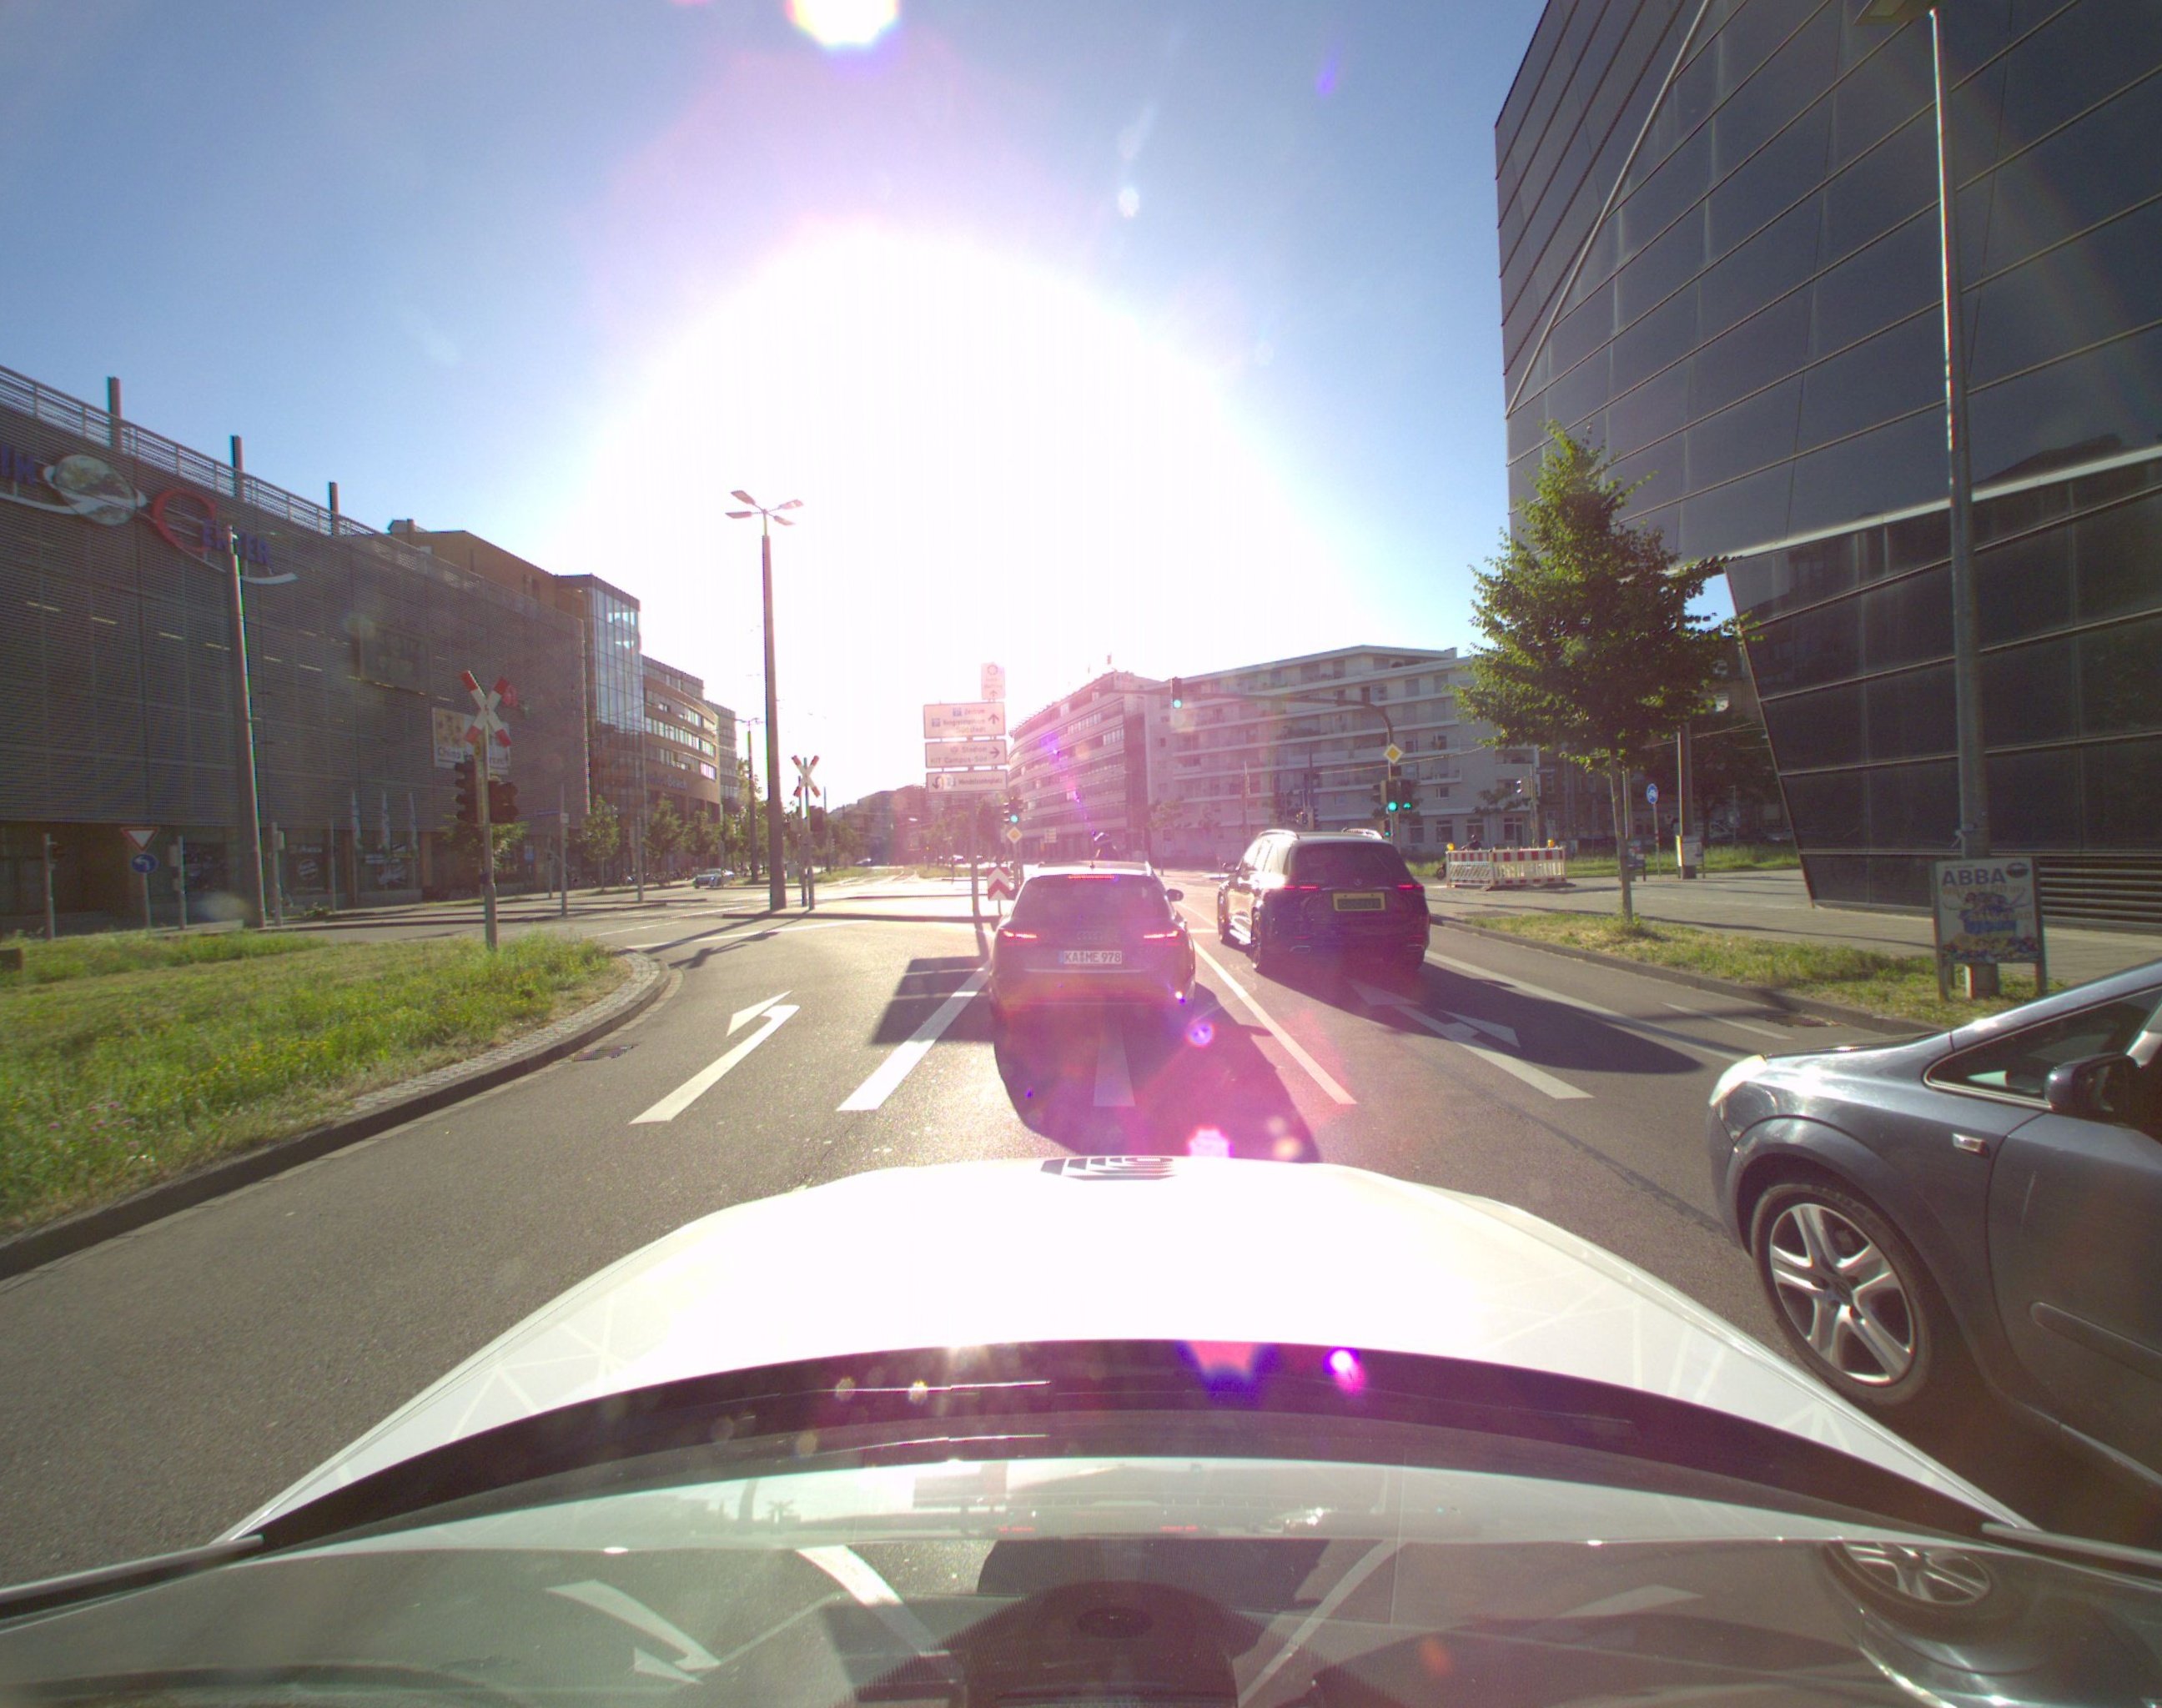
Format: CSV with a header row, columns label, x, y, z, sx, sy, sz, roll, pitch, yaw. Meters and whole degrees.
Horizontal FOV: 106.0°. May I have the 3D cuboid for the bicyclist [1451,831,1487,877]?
label,x,y,z,sx,sy,sz,roll,pitch,yaw
bicyclist,14.823,0.001,31.134,0.767,1.706,0.925,-2,0,-15

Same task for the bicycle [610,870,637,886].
label,x,y,z,sx,sy,sz,roll,pitch,yaw
bicycle,-43.658,2.304,77.765,2.070,1.433,0.863,-3,-1,10

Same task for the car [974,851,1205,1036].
label,x,y,z,sx,sy,sz,roll,pitch,yaw
car,0.120,0.710,8.514,1.835,1.454,4.001,0,0,1

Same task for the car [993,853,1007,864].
label,x,y,z,sx,sy,sz,roll,pitch,yaw
car,-14.953,0.903,150.247,1.996,1.838,3.981,-3,-1,-14

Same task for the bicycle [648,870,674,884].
label,x,y,z,sx,sy,sz,roll,pitch,yaw
bicycle,-47.138,2.600,91.427,2.591,1.433,0.773,-3,-1,10

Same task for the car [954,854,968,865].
label,x,y,z,sx,sy,sz,roll,pitch,yaw
car,-20.794,0.971,140.547,1.996,1.596,3.981,-3,-1,-14

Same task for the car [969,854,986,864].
label,x,y,z,sx,sy,sz,roll,pitch,yaw
car,-17.565,0.844,137.999,1.999,1.596,3.976,-3,-1,-17

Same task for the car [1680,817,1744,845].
label,x,y,z,sx,sy,sz,roll,pitch,yaw
car,58.893,-2.134,76.069,4.543,2.310,2.013,-2,0,38

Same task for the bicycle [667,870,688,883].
label,x,y,z,sx,sy,sz,roll,pitch,yaw
bicycle,-47.427,2.620,95.753,2.125,1.433,0.761,-3,-1,10

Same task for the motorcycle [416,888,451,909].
label,x,y,z,sx,sy,sz,roll,pitch,yaw
motorcycle,-41.767,2.881,52.530,0.673,1.238,1.894,-3,-1,1

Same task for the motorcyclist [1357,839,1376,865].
label,x,y,z,sx,sy,sz,roll,pitch,yaw
motorcyclist,16.565,-0.119,47.294,0.918,1.481,1.176,-2,0,16

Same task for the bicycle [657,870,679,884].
label,x,y,z,sx,sy,sz,roll,pitch,yaw
bicycle,-47.406,2.614,93.554,2.231,1.433,0.720,-3,-1,10

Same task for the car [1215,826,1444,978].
label,x,y,z,sx,sy,sz,roll,pitch,yaw
car,3.165,0.524,11.391,1.995,1.715,4.374,0,0,2

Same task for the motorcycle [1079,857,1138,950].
label,x,y,z,sx,sy,sz,roll,pitch,yaw
motorcycle,0.452,0.760,13.351,0.859,1.393,1.894,-2,0,2

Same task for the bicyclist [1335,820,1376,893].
label,x,y,z,sx,sy,sz,roll,pitch,yaw
bicyclist,6.384,0.050,18.973,0.651,1.642,0.973,-2,0,5

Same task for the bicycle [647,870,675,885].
label,x,y,z,sx,sy,sz,roll,pitch,yaw
bicycle,-43.776,2.430,84.914,2.546,1.433,0.907,-3,-1,10

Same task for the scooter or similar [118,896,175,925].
label,x,y,z,sx,sy,sz,roll,pitch,yaw
scooter or similar,-43.716,2.631,38.116,0.790,1.207,1.575,-3,-1,2

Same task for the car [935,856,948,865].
label,x,y,z,sx,sy,sz,roll,pitch,yaw
car,-27.090,1.260,158.243,1.998,1.706,3.977,-3,-1,-16

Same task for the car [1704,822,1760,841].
label,x,y,z,sx,sy,sz,roll,pitch,yaw
car,54.204,-1.865,67.901,1.981,1.354,4.012,-3,-1,11

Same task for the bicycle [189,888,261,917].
label,x,y,z,sx,sy,sz,roll,pitch,yaw
bicycle,-41.839,2.367,39.858,0.796,1.220,2.418,-2,0,5

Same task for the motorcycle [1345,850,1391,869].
label,x,y,z,sx,sy,sz,roll,pitch,yaw
motorcycle,16.629,0.321,47.295,2.434,1.000,1.176,-2,0,15

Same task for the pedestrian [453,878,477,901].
label,x,y,z,sx,sy,sz,roll,pitch,yaw
pedestrian,-44.249,2.516,58.485,0.984,1.566,0.829,-3,-1,1

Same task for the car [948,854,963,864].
label,x,y,z,sx,sy,sz,roll,pitch,yaw
car,-22.728,0.973,147.171,1.998,1.706,3.977,-3,-1,-16

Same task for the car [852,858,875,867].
label,x,y,z,sx,sy,sz,roll,pitch,yaw
car,-46.843,1.811,175.632,4.423,1.640,1.982,-2,0,-28

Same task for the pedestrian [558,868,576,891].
label,x,y,z,sx,sy,sz,roll,pitch,yaw
pedestrian,-42.652,2.123,67.536,0.823,1.824,0.905,-3,-1,3

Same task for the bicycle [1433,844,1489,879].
label,x,y,z,sx,sy,sz,roll,pitch,yaw
bicycle,14.724,0.293,31.611,0.767,1.262,2.071,-2,0,-15

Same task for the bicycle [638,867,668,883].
label,x,y,z,sx,sy,sz,roll,pitch,yaw
bicycle,-43.450,2.154,82.658,2.546,1.433,0.907,-3,-1,10

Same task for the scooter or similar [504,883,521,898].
label,x,y,z,sx,sy,sz,roll,pitch,yaw
scooter or similar,-42.931,2.760,61.509,0.419,1.110,1.153,-3,-1,2

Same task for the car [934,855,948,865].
label,x,y,z,sx,sy,sz,roll,pitch,yaw
car,-25.134,1.135,146.055,1.998,1.706,3.977,-3,-1,-16

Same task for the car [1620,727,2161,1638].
label,x,y,z,sx,sy,sz,roll,pitch,yaw
car,2.865,0.613,0.976,1.739,1.696,4.262,0,0,2

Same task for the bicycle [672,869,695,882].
label,x,y,z,sx,sy,sz,roll,pitch,yaw
bicycle,-47.264,2.595,96.925,2.405,1.433,0.791,-3,-1,10

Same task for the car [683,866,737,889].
label,x,y,z,sx,sy,sz,roll,pitch,yaw
car,-27.850,1.740,61.227,1.988,1.545,4.528,-2,0,-1

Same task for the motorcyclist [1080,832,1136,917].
label,x,y,z,sx,sy,sz,roll,pitch,yaw
motorcyclist,0.449,0.329,13.408,0.859,1.326,0.681,-2,0,1

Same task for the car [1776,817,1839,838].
label,x,y,z,sx,sy,sz,roll,pitch,yaw
car,58.524,-2.101,65.702,1.981,1.486,4.012,-3,-1,11

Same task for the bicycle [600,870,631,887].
label,x,y,z,sx,sy,sz,roll,pitch,yaw
bicycle,-43.854,2.329,76.694,2.355,1.433,1.079,-3,-1,10
